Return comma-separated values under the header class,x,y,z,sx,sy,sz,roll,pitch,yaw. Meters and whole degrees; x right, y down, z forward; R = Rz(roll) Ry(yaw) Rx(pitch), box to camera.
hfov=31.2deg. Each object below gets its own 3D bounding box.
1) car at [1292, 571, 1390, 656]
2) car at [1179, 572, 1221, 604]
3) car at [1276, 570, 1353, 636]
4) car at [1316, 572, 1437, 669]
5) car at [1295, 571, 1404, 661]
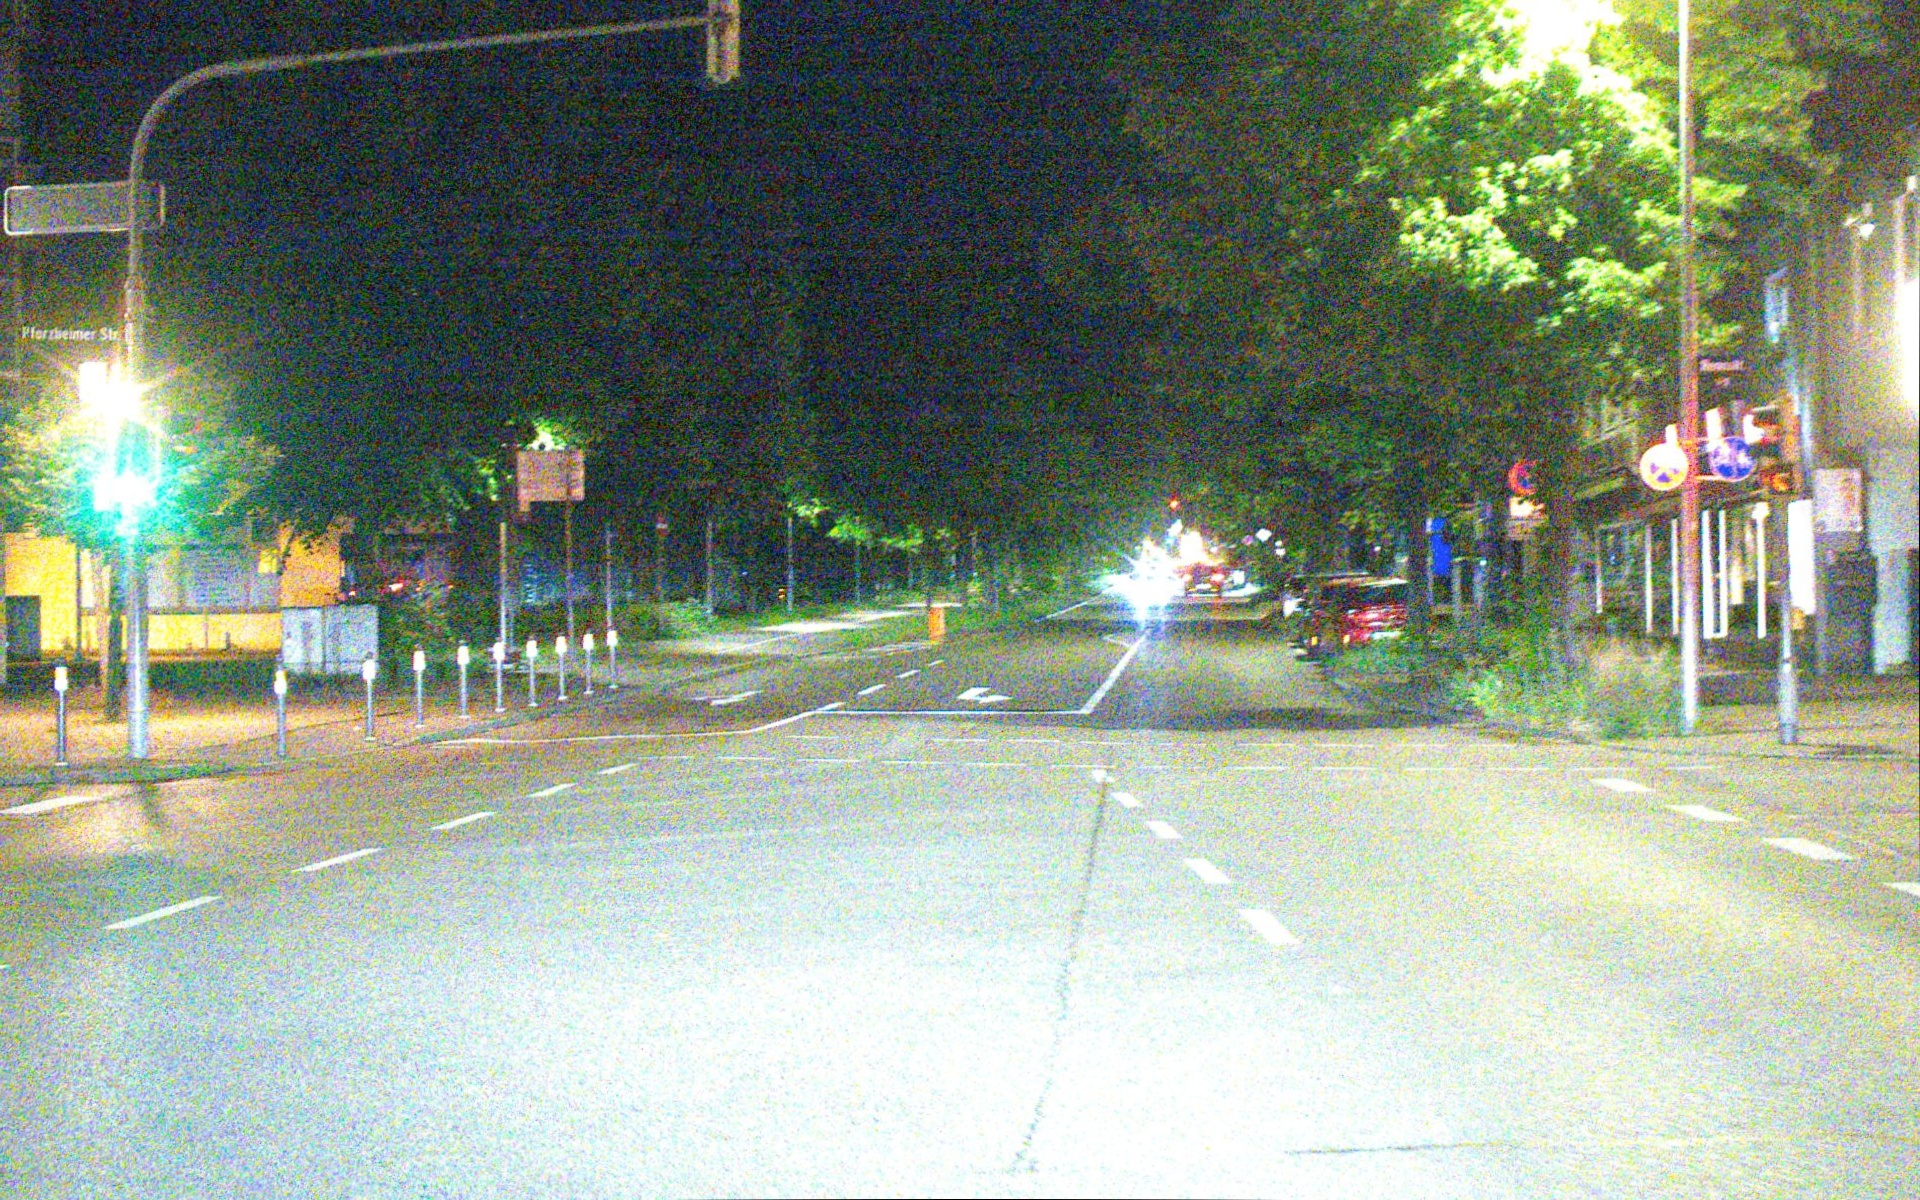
class,x,y,z,sx,sy,sz,roll,pitch,yaw
car,7.932,0.263,71.802,1.876,1.723,3.999,0,0,4
car,11.018,-0.542,157.704,1.874,1.449,4.316,1,0,4
car,9.225,0.072,89.768,1.876,1.678,3.999,0,0,4
car,7.131,0.335,59.133,1.876,1.610,3.999,0,0,4
car,7.232,0.287,64.151,1.876,1.610,3.999,0,0,4
